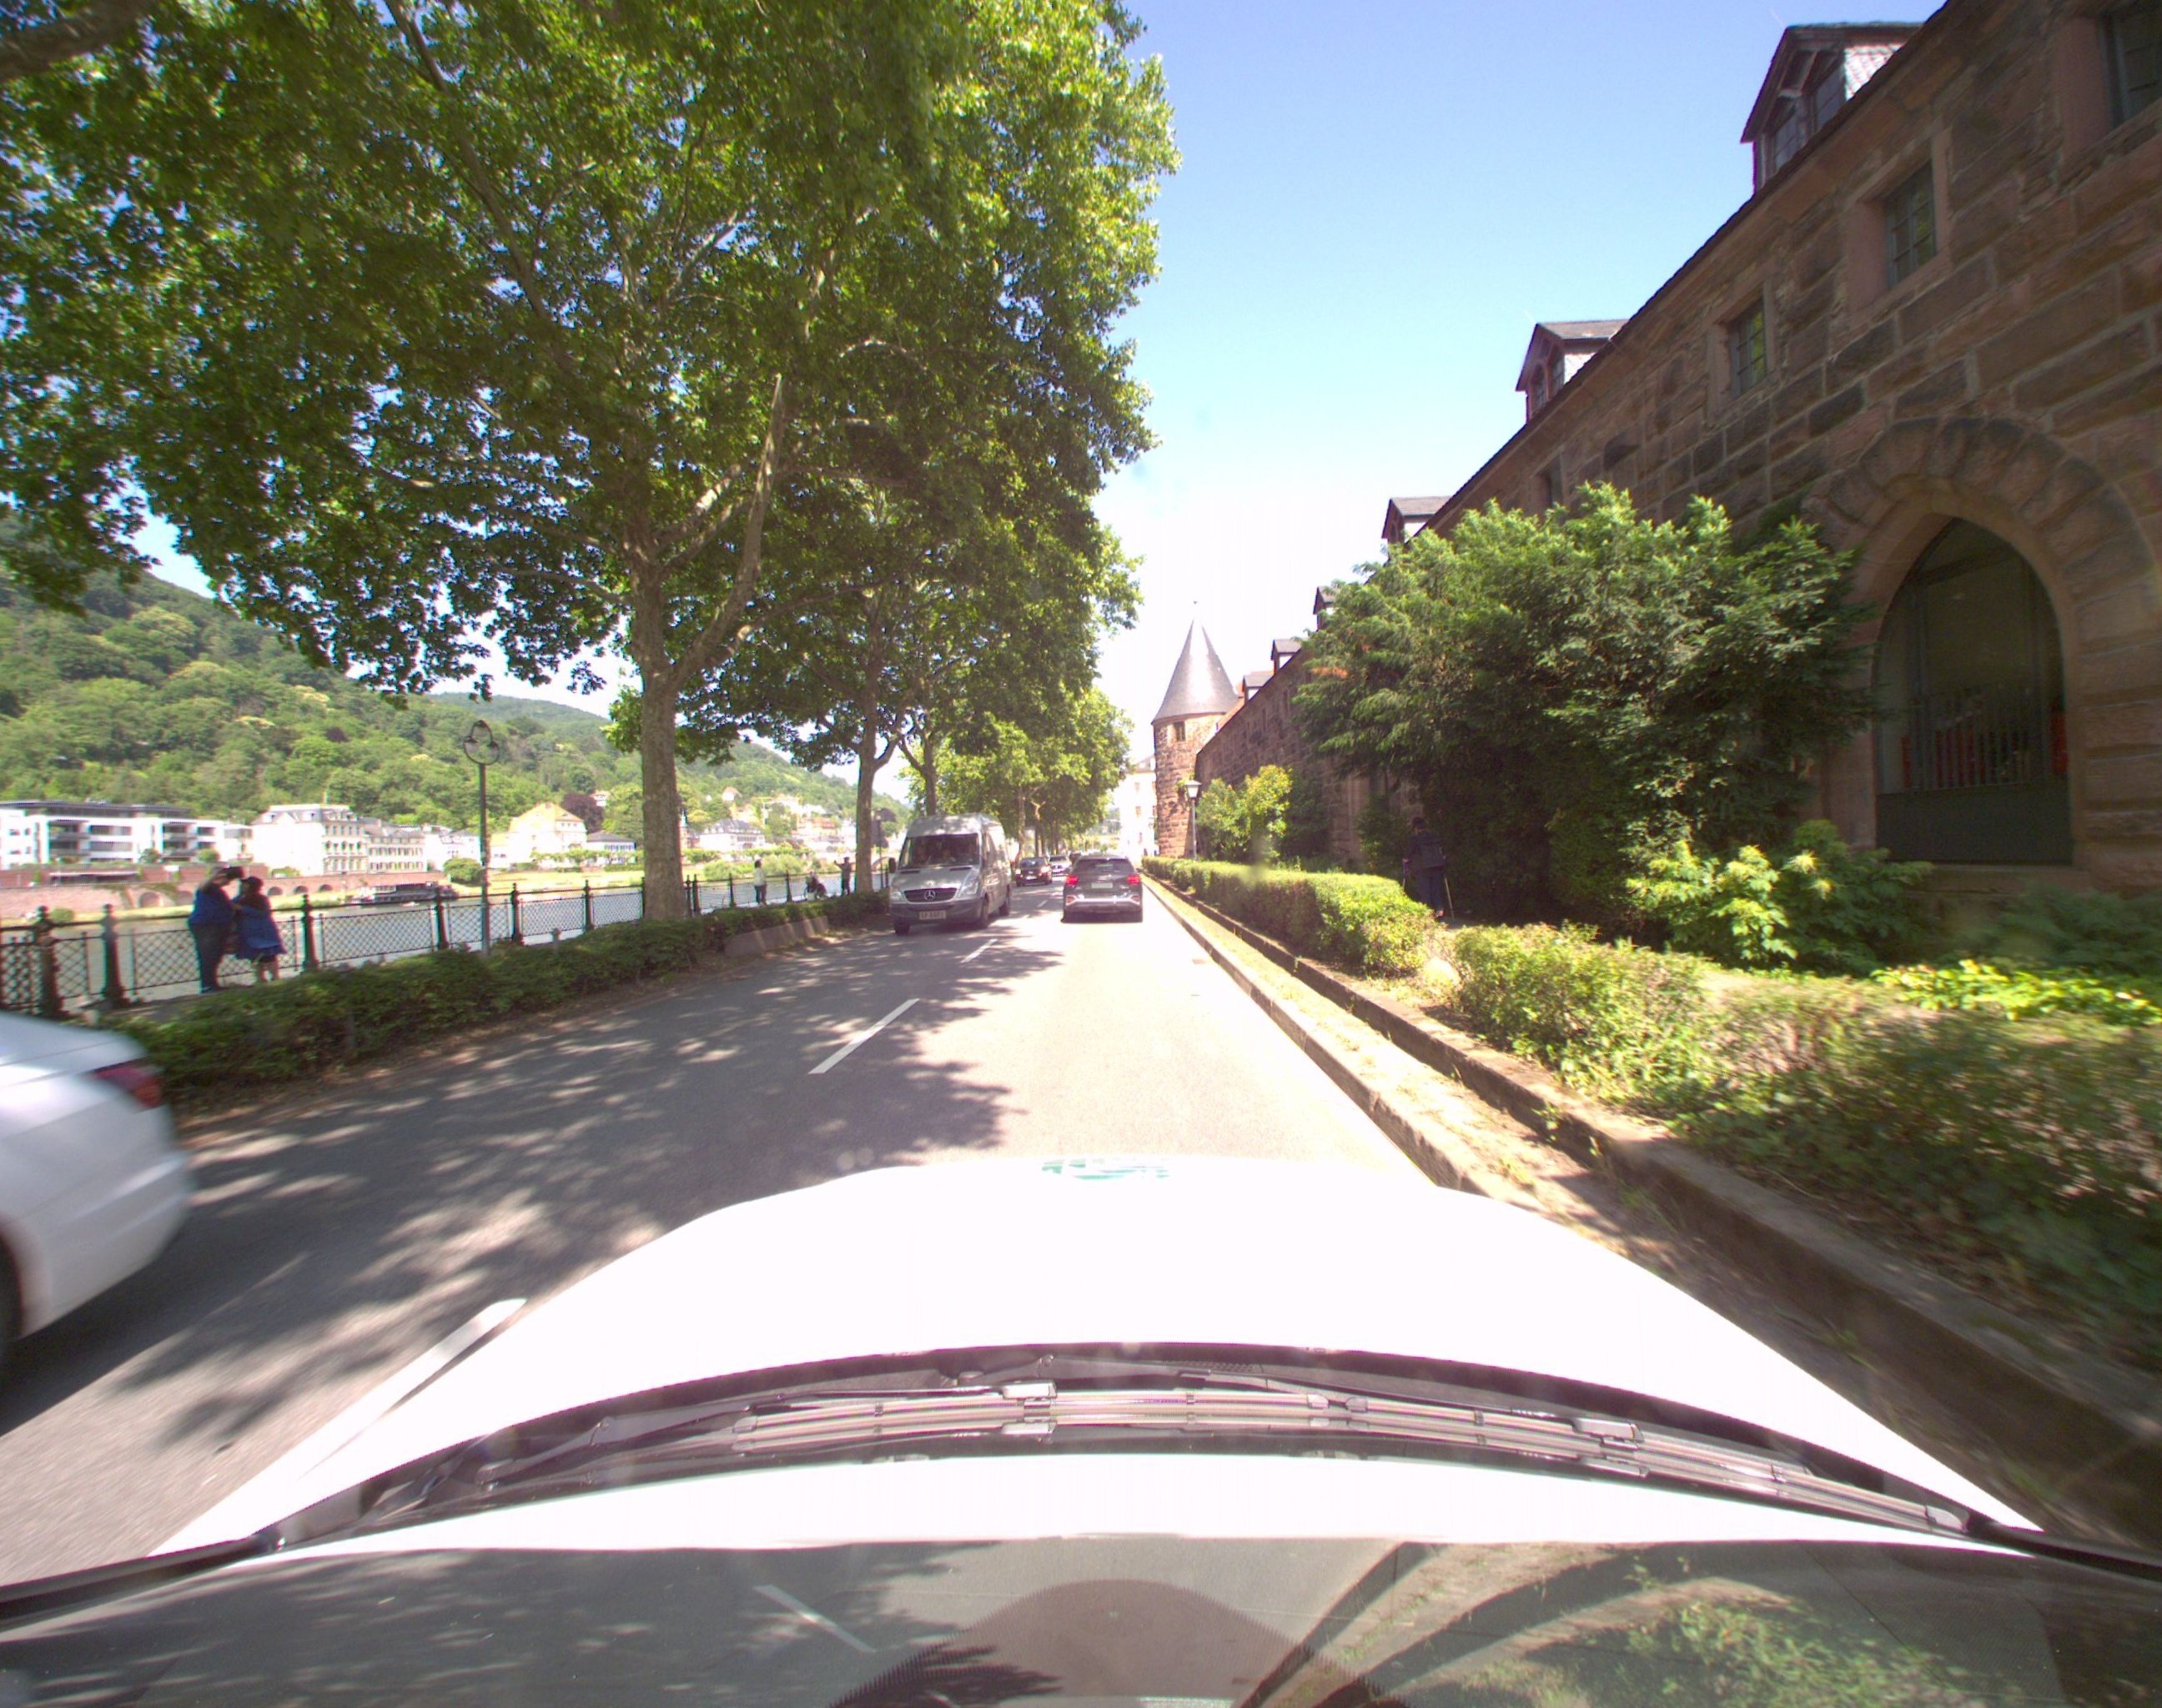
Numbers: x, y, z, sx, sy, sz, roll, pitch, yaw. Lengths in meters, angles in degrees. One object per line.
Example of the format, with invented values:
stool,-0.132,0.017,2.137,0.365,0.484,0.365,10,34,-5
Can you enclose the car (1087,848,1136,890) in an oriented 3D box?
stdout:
car,1.250,0.561,32.686,1.794,1.562,3.718,-2,0,3

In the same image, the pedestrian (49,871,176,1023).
pedestrian,-12.040,1.123,10.147,0.701,1.797,0.705,-2,-1,3

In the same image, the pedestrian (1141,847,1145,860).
pedestrian,7.818,-0.053,102.510,0.555,1.633,0.660,-1,-1,3

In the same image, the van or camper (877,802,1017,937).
van or camper,-2.921,0.317,19.302,1.953,2.567,5.843,-4,0,2

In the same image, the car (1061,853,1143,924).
car,0.481,0.733,19.206,1.742,1.494,3.629,-1,0,1

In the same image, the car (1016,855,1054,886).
car,-2.361,0.806,42.421,1.643,1.469,3.780,-2,0,1

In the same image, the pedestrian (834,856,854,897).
pedestrian,-9.494,0.887,32.624,0.642,1.618,0.458,0,-1,0

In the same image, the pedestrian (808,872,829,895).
pedestrian,-10.749,1.203,33.334,0.605,0.884,0.705,-2,0,1

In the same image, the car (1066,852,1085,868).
car,-0.601,0.608,89.100,1.756,1.647,4.093,-2,0,3

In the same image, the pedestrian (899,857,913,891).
pedestrian,-8.197,0.933,38.156,0.455,1.554,0.586,-2,0,1

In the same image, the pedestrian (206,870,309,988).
pedestrian,-11.701,1.041,11.587,0.701,1.603,0.705,-2,-1,3

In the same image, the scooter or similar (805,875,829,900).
scooter or similar,-10.753,1.370,33.176,0.629,0.968,1.012,0,0,1

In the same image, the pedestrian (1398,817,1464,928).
pedestrian,5.408,0.276,12.628,0.695,1.652,0.705,-2,0,4

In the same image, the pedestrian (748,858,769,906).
pedestrian,-11.646,1.014,29.380,0.582,1.710,0.403,0,-1,0

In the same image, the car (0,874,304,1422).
car,-3.857,0.852,0.767,1.763,1.457,4.535,-4,0,1

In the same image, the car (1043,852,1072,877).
car,-1.724,0.805,61.491,1.870,1.698,4.259,-4,0,1

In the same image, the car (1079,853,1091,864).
car,0.692,0.669,126.934,1.607,1.523,3.480,-2,0,4
